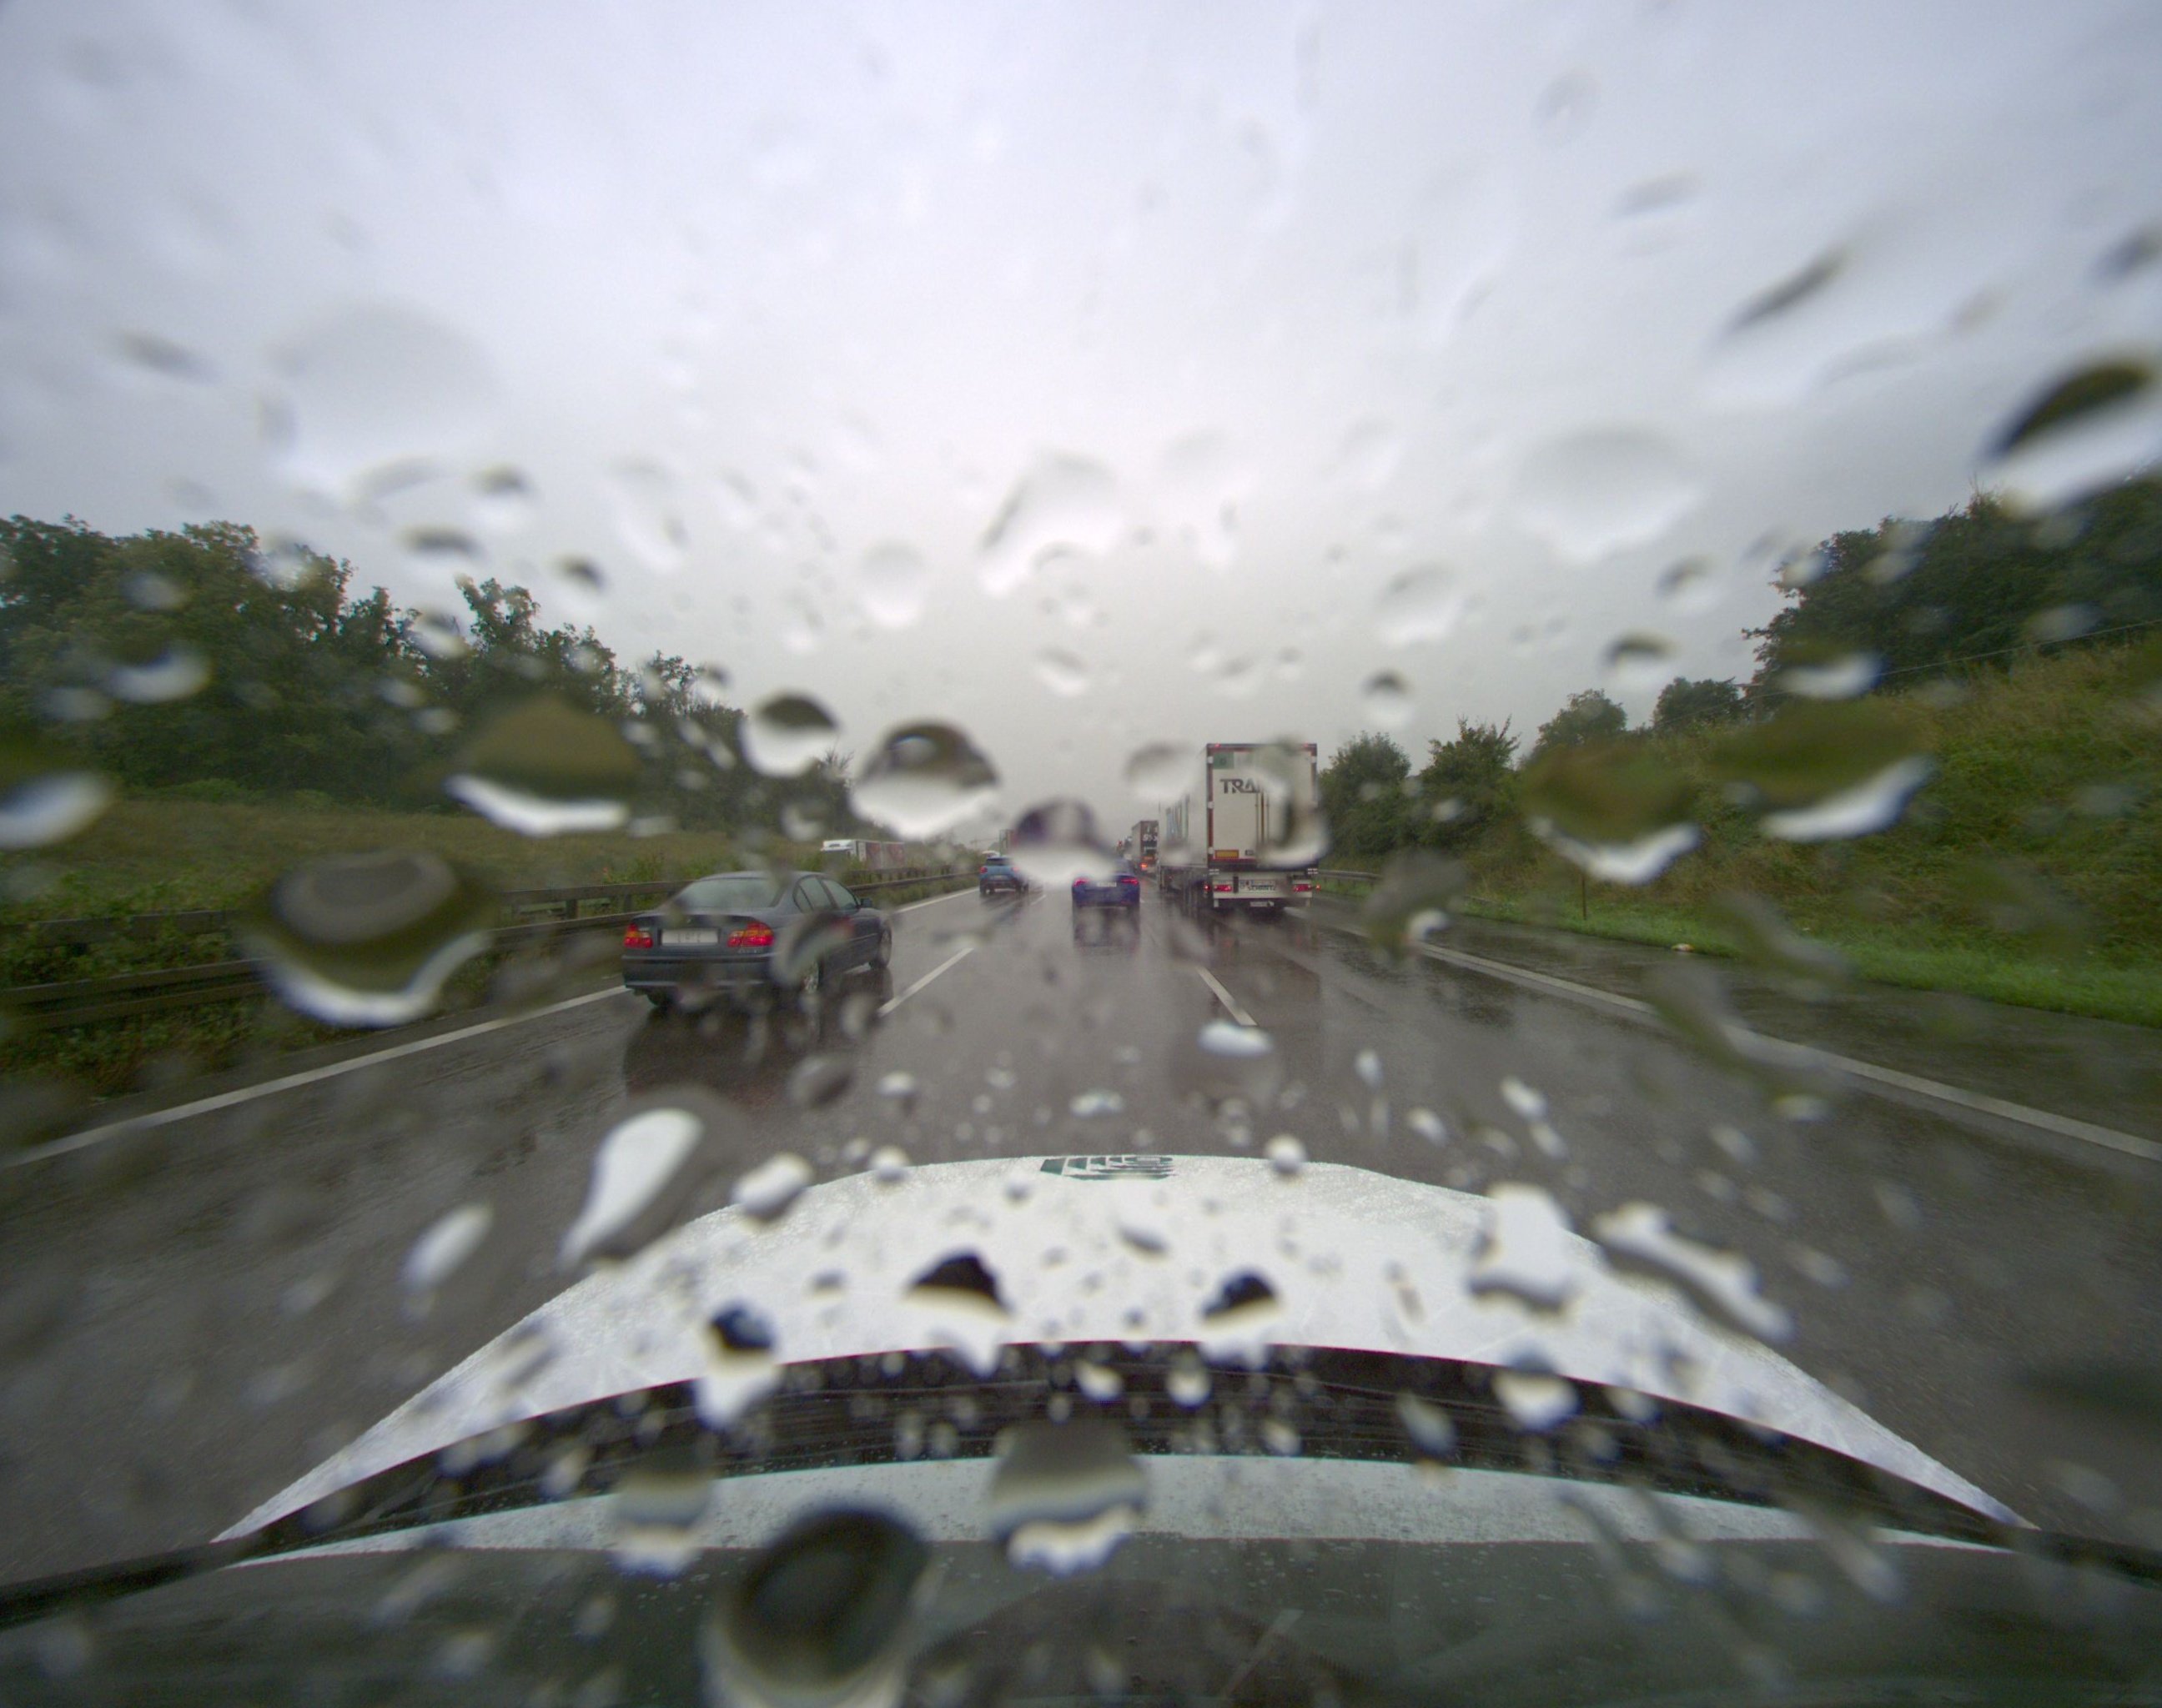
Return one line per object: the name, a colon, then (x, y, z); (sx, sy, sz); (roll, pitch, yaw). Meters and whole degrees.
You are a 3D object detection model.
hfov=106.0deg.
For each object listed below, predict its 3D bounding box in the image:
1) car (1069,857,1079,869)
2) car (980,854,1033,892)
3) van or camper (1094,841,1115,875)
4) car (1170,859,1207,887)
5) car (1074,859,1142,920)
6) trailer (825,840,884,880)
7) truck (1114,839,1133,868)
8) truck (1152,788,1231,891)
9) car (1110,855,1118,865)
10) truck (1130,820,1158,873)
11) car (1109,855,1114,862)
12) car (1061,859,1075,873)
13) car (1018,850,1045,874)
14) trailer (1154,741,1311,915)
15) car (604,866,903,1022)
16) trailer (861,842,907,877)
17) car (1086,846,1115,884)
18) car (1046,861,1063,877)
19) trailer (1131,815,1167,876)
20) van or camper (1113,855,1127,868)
car: (-1.085, 1.361, 123.025); (1.443, 1.784, 3.410); (0, -1, 1)
car: (-3.112, 0.766, 34.709); (1.715, 1.523, 4.002); (-1, 0, 2)
van or camper: (2.069, 0.329, 71.575); (1.791, 2.806, 4.769); (-1, 0, 1)
car: (5.174, 0.893, 39.644); (1.418, 1.288, 3.461); (-1, 0, 1)
car: (0.725, 0.885, 21.794); (1.629, 1.445, 4.002); (-1, 0, 2)
trailer: (-18.701, 0.460, 67.759); (1.986, 3.082, 9.557); (-1, 0, 1)
truck: (5.170, -0.065, 100.211); (1.987, 3.421, 8.031); (-1, 0, 0)
truck: (4.360, -0.542, 32.972); (2.621, 3.827, 4.792); (-1, 0, 1)
car: (5.946, 1.019, 148.003); (1.443, 1.784, 3.410); (0, -1, 1)
truck: (5.206, -0.614, 67.929); (2.039, 4.193, 4.001); (-1, 0, 1)
car: (8.909, 1.301, 236.250); (1.443, 1.784, 3.410); (0, -1, 1)
car: (-1.491, 1.354, 91.870); (1.434, 1.533, 3.322); (-1, 0, 1)
car: (-3.131, 0.482, 51.709); (1.354, 1.431, 3.364); (-1, 0, 1)
trailer: (4.193, -0.613, 26.264); (2.621, 4.013, 14.633); (-1, 0, 1)
car: (-3.574, 0.890, 9.829); (1.711, 1.400, 4.233); (-1, 0, 3)
trailer: (-18.486, 0.466, 77.000); (1.986, 3.082, 8.874); (-1, 0, 1)
car: (0.969, 0.519, 39.843); (1.332, 1.780, 3.323); (-1, 0, 1)
car: (-2.430, 1.377, 75.119); (1.434, 1.420, 3.322); (-1, 0, 1)
trailer: (5.060, -0.598, 62.229); (2.039, 4.176, 11.451); (-1, 0, 1)
van or camper: (5.229, 0.959, 109.942); (1.765, 1.625, 4.485); (-1, 0, 1)
